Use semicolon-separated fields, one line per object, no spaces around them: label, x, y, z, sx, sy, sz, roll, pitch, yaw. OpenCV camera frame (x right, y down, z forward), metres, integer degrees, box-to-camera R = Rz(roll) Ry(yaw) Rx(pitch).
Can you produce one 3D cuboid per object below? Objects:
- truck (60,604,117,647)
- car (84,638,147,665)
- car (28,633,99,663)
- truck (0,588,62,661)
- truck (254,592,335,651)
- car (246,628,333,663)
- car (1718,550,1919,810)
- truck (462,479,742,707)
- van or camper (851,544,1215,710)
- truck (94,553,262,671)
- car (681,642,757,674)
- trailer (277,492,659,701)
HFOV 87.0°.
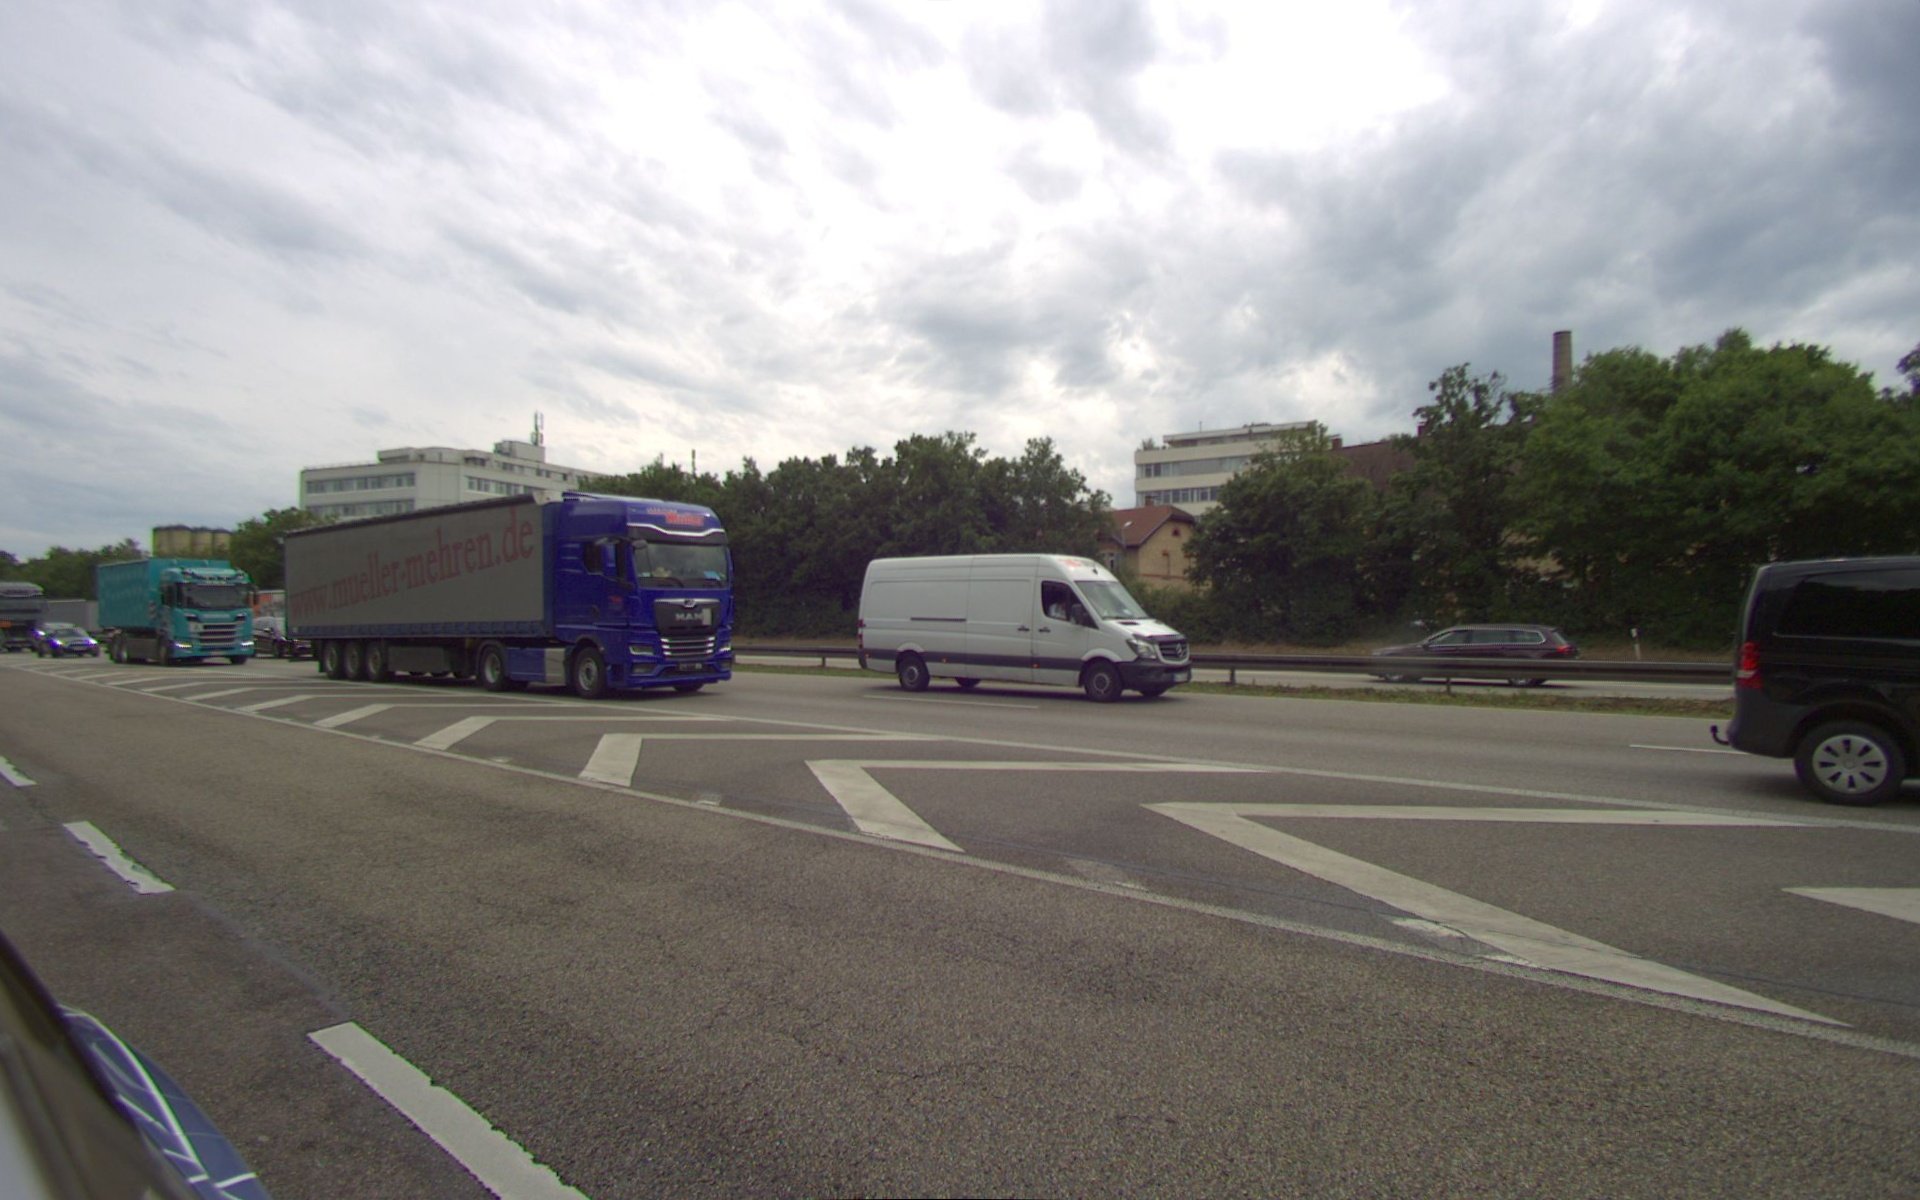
truck;-79.604;2.383;92.385;7.526;3.790;1.977;-1;-2;34
car;-47.026;2.843;56.358;4.049;1.444;1.875;-1;-2;38
car;-42.227;2.255;47.649;3.992;1.332;1.736;-1;-2;37
truck;-56.747;1.462;59.578;13.123;3.955;3.288;-1;-2;37
truck;-46.590;1.512;70.799;8.104;3.914;2.325;-2;-2;39
car;-28.409;1.900;42.857;3.994;1.444;1.875;-1;-2;38
car;8.494;0.557;7.232;4.808;1.865;1.973;-2;-2;40
truck;-7.395;-0.049;20.601;5.919;3.991;2.643;-2;-2;38
van or camper;1.115;0.514;19.058;6.948;2.641;2.029;-2;-2;39
truck;-30.017;0.520;38.628;10.111;4.031;2.667;-2;-2;38
car;-11.316;2.702;47.477;3.545;1.401;1.646;-1;-2;38
trailer;-12.640;0.095;24.762;13.901;4.005;2.647;-2;-2;38
